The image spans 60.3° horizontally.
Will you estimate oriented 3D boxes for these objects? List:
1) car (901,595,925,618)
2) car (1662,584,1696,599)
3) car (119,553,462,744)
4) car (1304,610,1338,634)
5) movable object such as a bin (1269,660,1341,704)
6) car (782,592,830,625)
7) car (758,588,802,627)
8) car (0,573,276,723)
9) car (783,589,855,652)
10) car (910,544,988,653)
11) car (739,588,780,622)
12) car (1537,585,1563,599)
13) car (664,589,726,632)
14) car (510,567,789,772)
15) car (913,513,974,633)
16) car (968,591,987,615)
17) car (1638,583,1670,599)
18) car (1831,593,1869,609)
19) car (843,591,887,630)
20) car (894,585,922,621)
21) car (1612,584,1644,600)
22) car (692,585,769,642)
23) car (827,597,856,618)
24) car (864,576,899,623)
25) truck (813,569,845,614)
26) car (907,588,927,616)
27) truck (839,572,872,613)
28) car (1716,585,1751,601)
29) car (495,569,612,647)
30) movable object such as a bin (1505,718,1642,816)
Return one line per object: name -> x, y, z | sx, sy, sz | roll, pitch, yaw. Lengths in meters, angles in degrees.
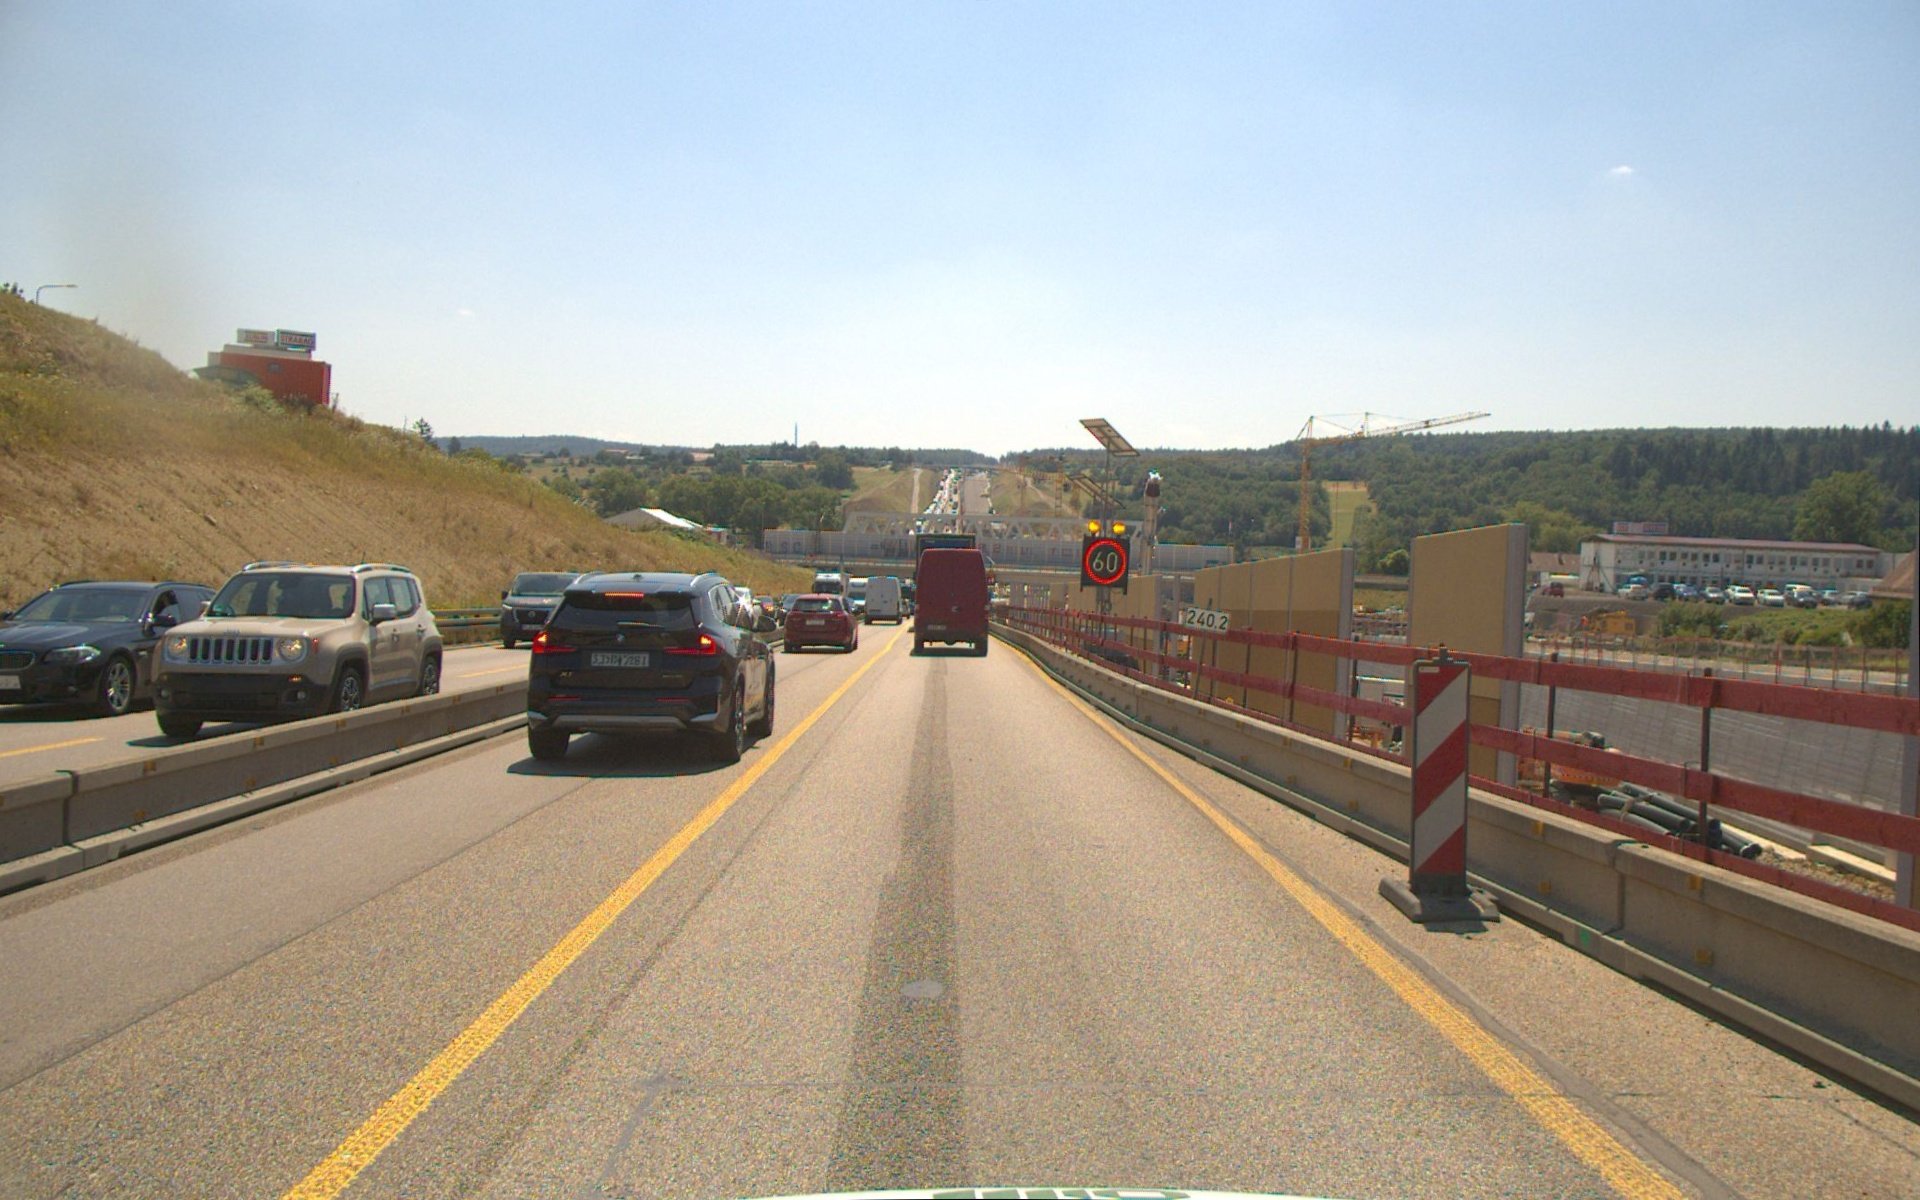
car -> -3.520, 0.515, 125.010 | 1.740, 1.699, 4.027 | 0, 0, -1
car -> 73.202, -0.855, 168.441 | 1.646, 1.544, 4.075 | 1, 0, 1
car -> -6.683, 0.446, 17.089 | 1.795, 1.695, 4.413 | 1, 0, -1
car -> 32.710, 1.971, 149.915 | 1.769, 2.049, 4.822 | 1, 0, -3
movable object such as a bin -> 23.420, 5.503, 112.602 | 3.099, 2.488, 7.894 | 3, 0, 0
car -> -7.383, 0.386, 79.690 | 1.915, 1.525, 5.089 | 1, 0, -1
car -> -8.604, 0.339, 79.330 | 1.740, 1.822, 4.205 | 0, 0, -1
car -> -10.042, 0.495, 19.607 | 1.953, 1.533, 4.717 | 1, 0, -1
car -> -3.631, 0.511, 43.177 | 1.740, 1.544, 4.203 | 0, 0, -3
car -> -0.319, -0.040, 43.776 | 1.948, 2.737, 4.622 | 0, 0, -1
car -> -11.267, 0.281, 93.131 | 1.793, 1.822, 5.024 | 0, 0, -1
car -> 60.586, -0.813, 169.982 | 1.483, 1.339, 3.430 | 1, 0, 1
car -> -10.348, 0.394, 64.922 | 1.650, 1.613, 5.125 | 1, 0, -1
car -> -2.743, 0.561, 15.639 | 1.841, 1.646, 4.498 | 0, 0, -1
car -> -0.797, -1.152, 75.606 | 2.568, 5.120, 10.394 | 0, 0, -1
car -> 1.705, 0.295, 163.944 | 1.740, 2.370, 4.205 | 0, 0, -1
car -> 70.697, -0.885, 168.507 | 1.646, 1.544, 4.075 | 1, 0, 1
car -> 88.060, 0.107, 163.721 | 1.646, 1.544, 4.075 | 1, 0, 1
car -> -4.124, 0.442, 72.379 | 1.802, 1.683, 4.163 | 0, 0, -1
car -> -3.447, 0.179, 110.315 | 1.740, 2.370, 4.205 | 0, 0, -1
car -> 68.134, -0.810, 168.830 | 1.646, 1.544, 4.075 | 1, 0, 1
car -> -7.176, 0.392, 52.218 | 1.802, 1.683, 5.369 | 0, 0, -1
car -> -8.549, 0.533, 119.501 | 1.760, 1.452, 4.948 | 1, 0, -1
car -> -4.281, -0.035, 90.636 | 1.740, 2.484, 4.205 | 0, 0, -1
truck -> -12.253, -0.781, 154.924 | 2.643, 4.121, 3.954 | 1, 0, -1
car -> -3.796, 0.174, 146.561 | 1.740, 2.370, 4.205 | 0, 0, -1
truck -> -9.104, -0.650, 145.013 | 2.486, 3.433, 7.036 | 1, 0, -1
car -> 78.252, -0.691, 167.403 | 1.678, 1.544, 4.075 | 1, 0, 1
car -> -10.768, 0.189, 44.193 | 1.997, 1.960, 5.120 | 0, 0, -2
movable object such as a bin -> 19.319, 5.216, 52.337 | 2.555, 2.533, 4.453 | 2, 0, -1
